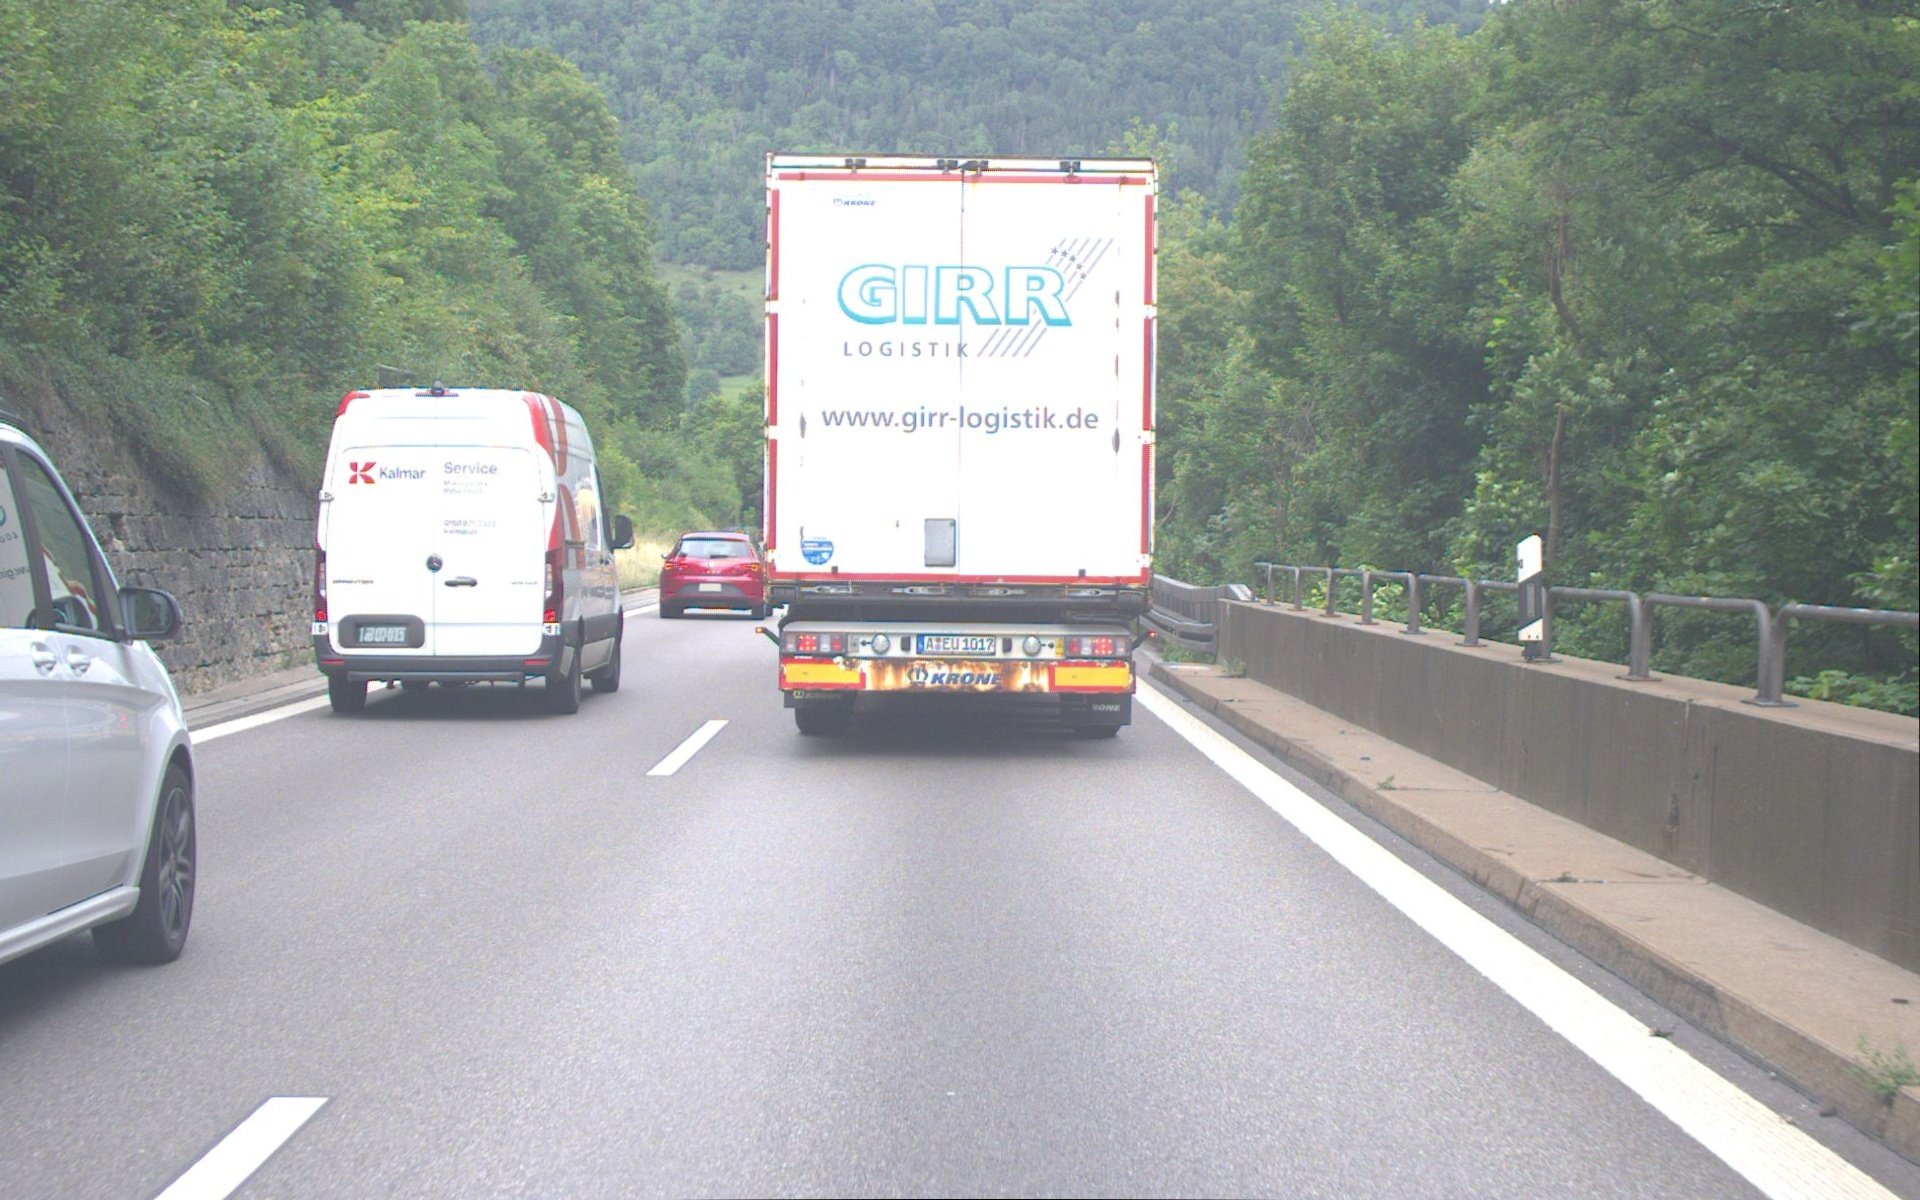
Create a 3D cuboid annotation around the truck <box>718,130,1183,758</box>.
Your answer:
[{"bbox_3d":[-0.031,-1.068,26.369,2.909,3.947,9.279,0,1,0],"label":"truck"}]

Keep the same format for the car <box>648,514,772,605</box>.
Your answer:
[{"bbox_3d":[-4.152,-0.683,57.608,1.766,1.455,4.411,0,1,0],"label":"car"}]

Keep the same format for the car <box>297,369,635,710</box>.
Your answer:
[{"bbox_3d":[-4.046,-0.505,29.256,2.026,2.576,6.275,0,1,-1],"label":"car"}]

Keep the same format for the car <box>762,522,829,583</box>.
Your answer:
[{"bbox_3d":[-4.494,-1.297,94.454,1.669,1.633,4.068,0,1,0],"label":"car"}]

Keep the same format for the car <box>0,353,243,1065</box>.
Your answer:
[{"bbox_3d":[-3.617,0.282,9.623,1.993,1.946,6.148,1,1,-1],"label":"car"}]
